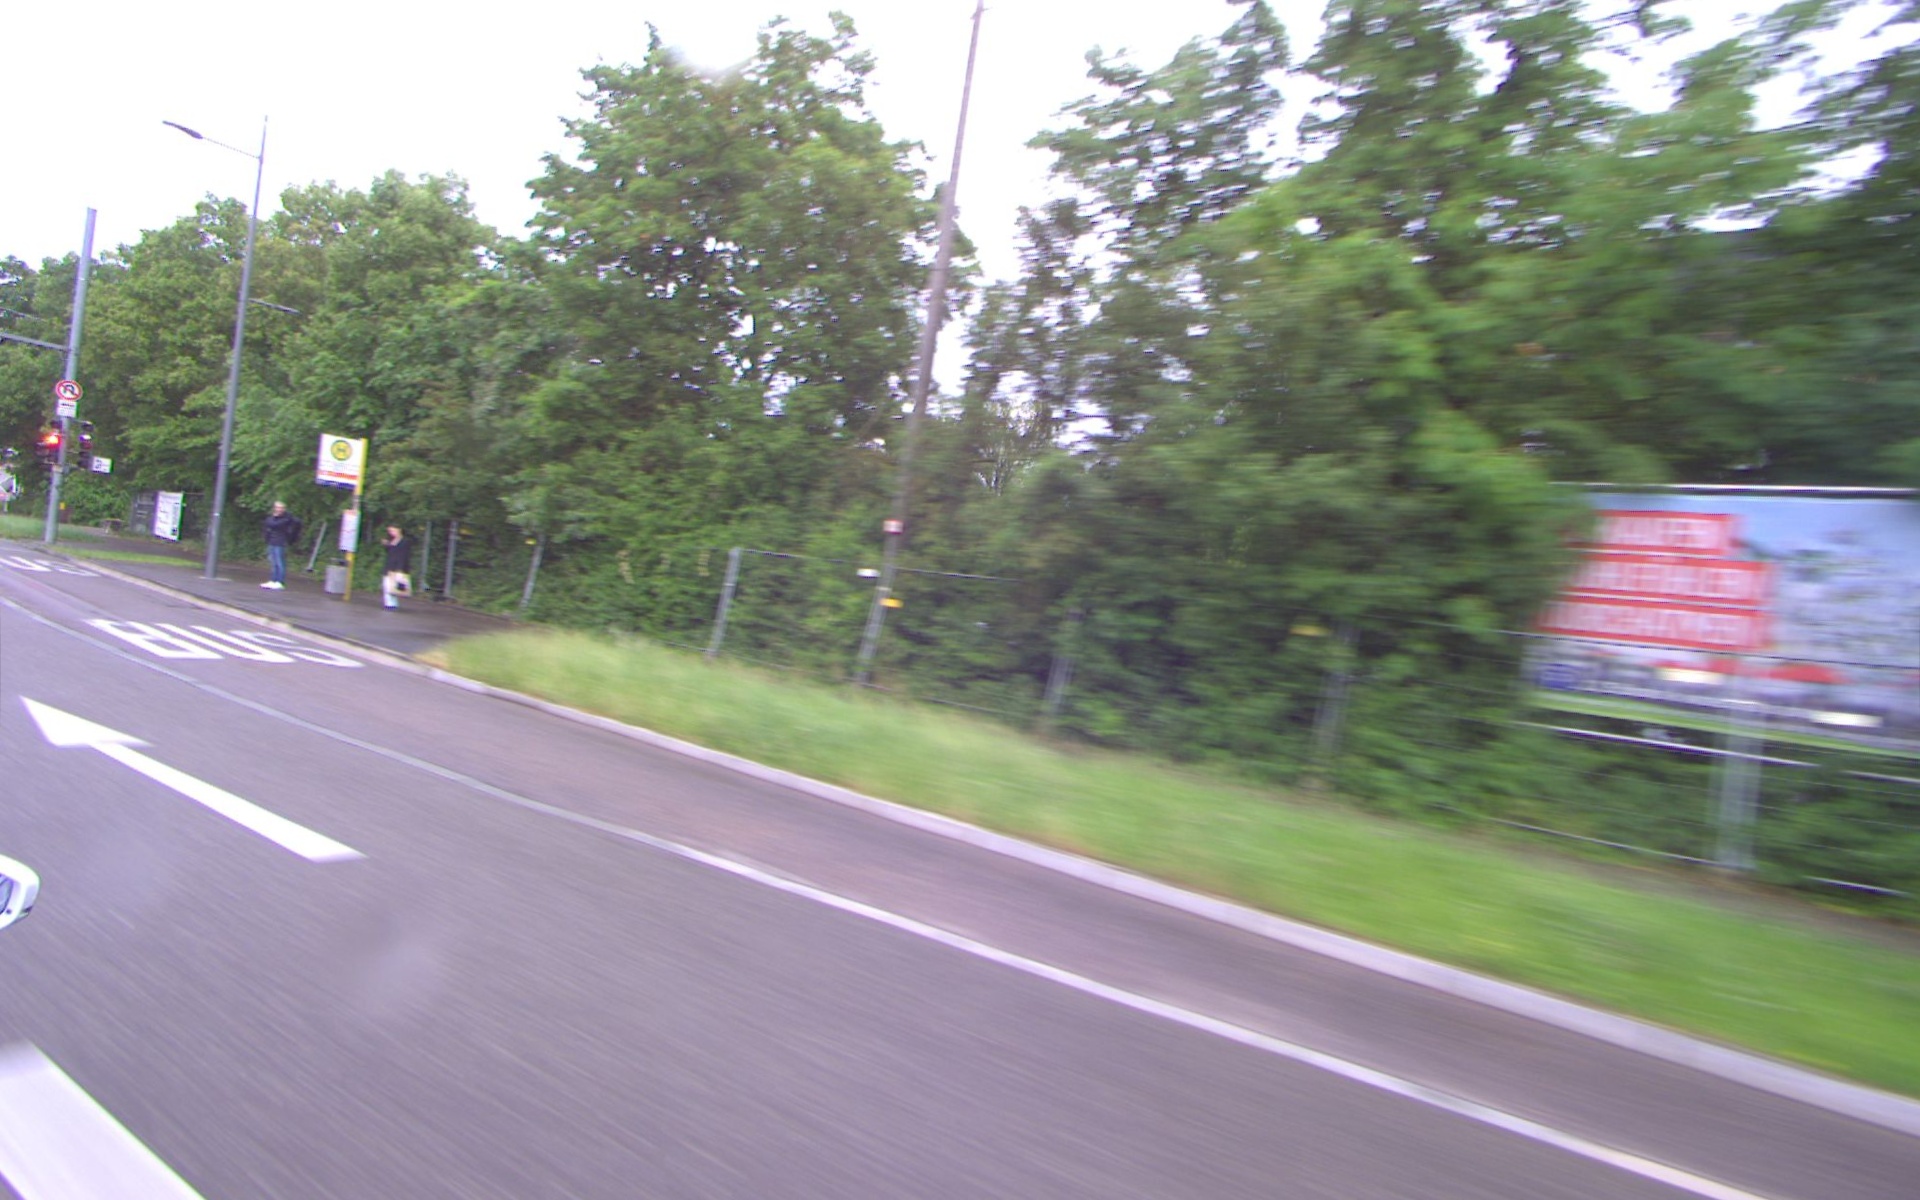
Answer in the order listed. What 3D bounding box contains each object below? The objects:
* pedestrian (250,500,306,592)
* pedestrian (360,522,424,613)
[{"bbox_3d":[-15.129,-1.187,22.319,0.706,1.924,0.641,7,1,33],"label":"pedestrian"},{"bbox_3d":[-11.265,-0.642,19.957,0.780,1.678,0.676,7,1,33],"label":"pedestrian"}]
